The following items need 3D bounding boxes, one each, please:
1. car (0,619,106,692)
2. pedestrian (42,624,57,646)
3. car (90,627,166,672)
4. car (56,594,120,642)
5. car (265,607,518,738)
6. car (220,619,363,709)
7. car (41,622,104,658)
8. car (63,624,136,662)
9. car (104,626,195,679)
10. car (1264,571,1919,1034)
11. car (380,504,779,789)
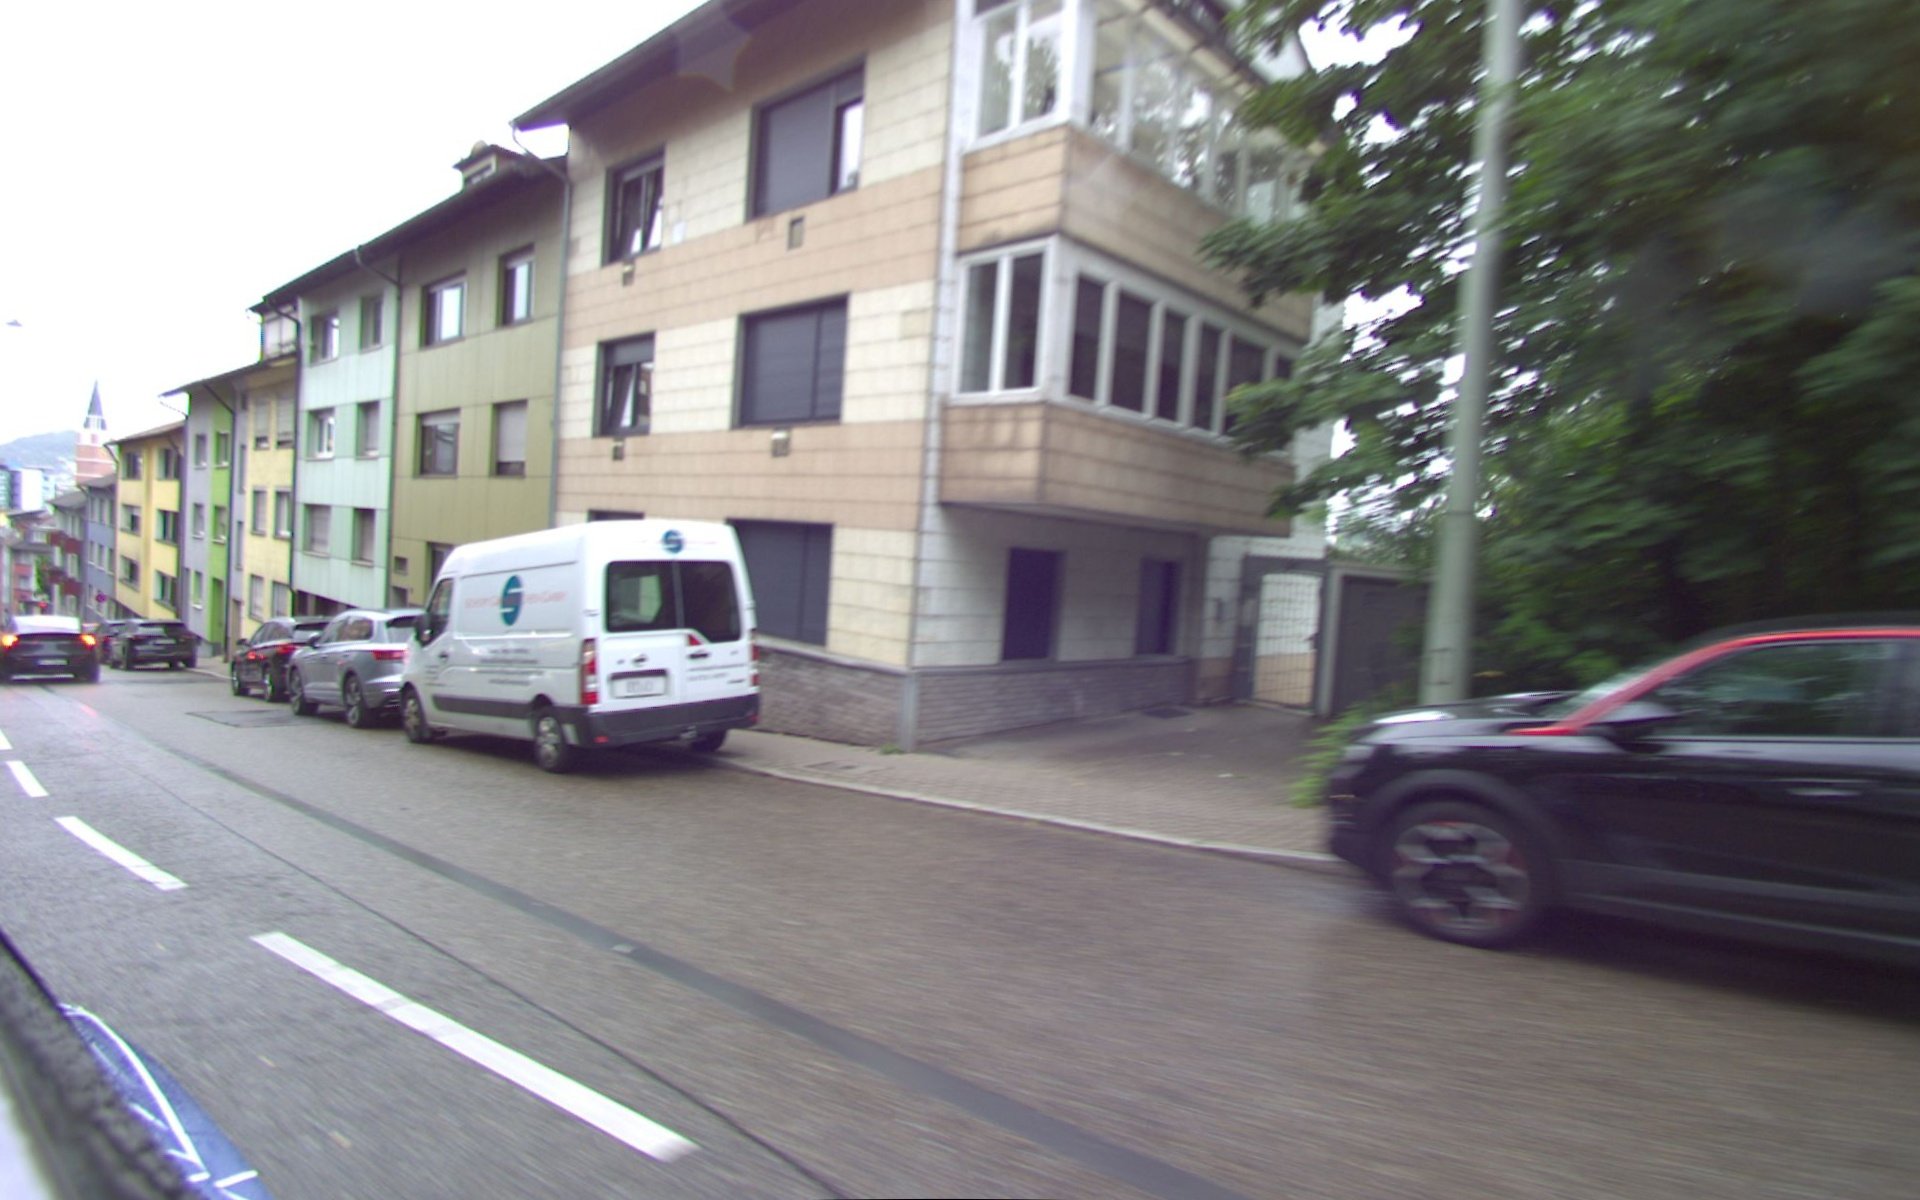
[{"bbox_3d":[-22.843,1.322,25.217,4.501,1.637,1.914,-2,-2,44],"label":"car"},{"bbox_3d":[-68.485,2.612,76.127,0.456,1.630,0.794,-2,-1,45],"label":"pedestrian"},{"bbox_3d":[-31.254,1.826,37.968,4.056,1.606,1.665,-1,-3,44],"label":"car"},{"bbox_3d":[-50.223,1.085,58.255,5.444,2.570,2.094,-2,-4,43],"label":"car"},{"bbox_3d":[-9.074,1.067,15.960,4.883,1.753,1.945,-1,-4,42],"label":"car"},{"bbox_3d":[-13.476,1.223,20.306,4.384,1.627,1.395,-1,-3,44],"label":"car"},{"bbox_3d":[-43.420,1.957,49.469,4.329,1.669,1.882,-1,-3,44],"label":"car"},{"bbox_3d":[-36.463,1.809,42.863,4.001,1.548,1.882,-1,-3,44],"label":"car"},{"bbox_3d":[-26.148,1.654,32.618,4.000,1.606,1.673,-1,-3,43],"label":"car"},{"bbox_3d":[3.651,0.757,4.412,4.186,1.616,1.626,-1,-4,44],"label":"car"},{"bbox_3d":[-4.637,0.518,11.790,5.444,2.570,2.094,-2,-4,43],"label":"car"}]
